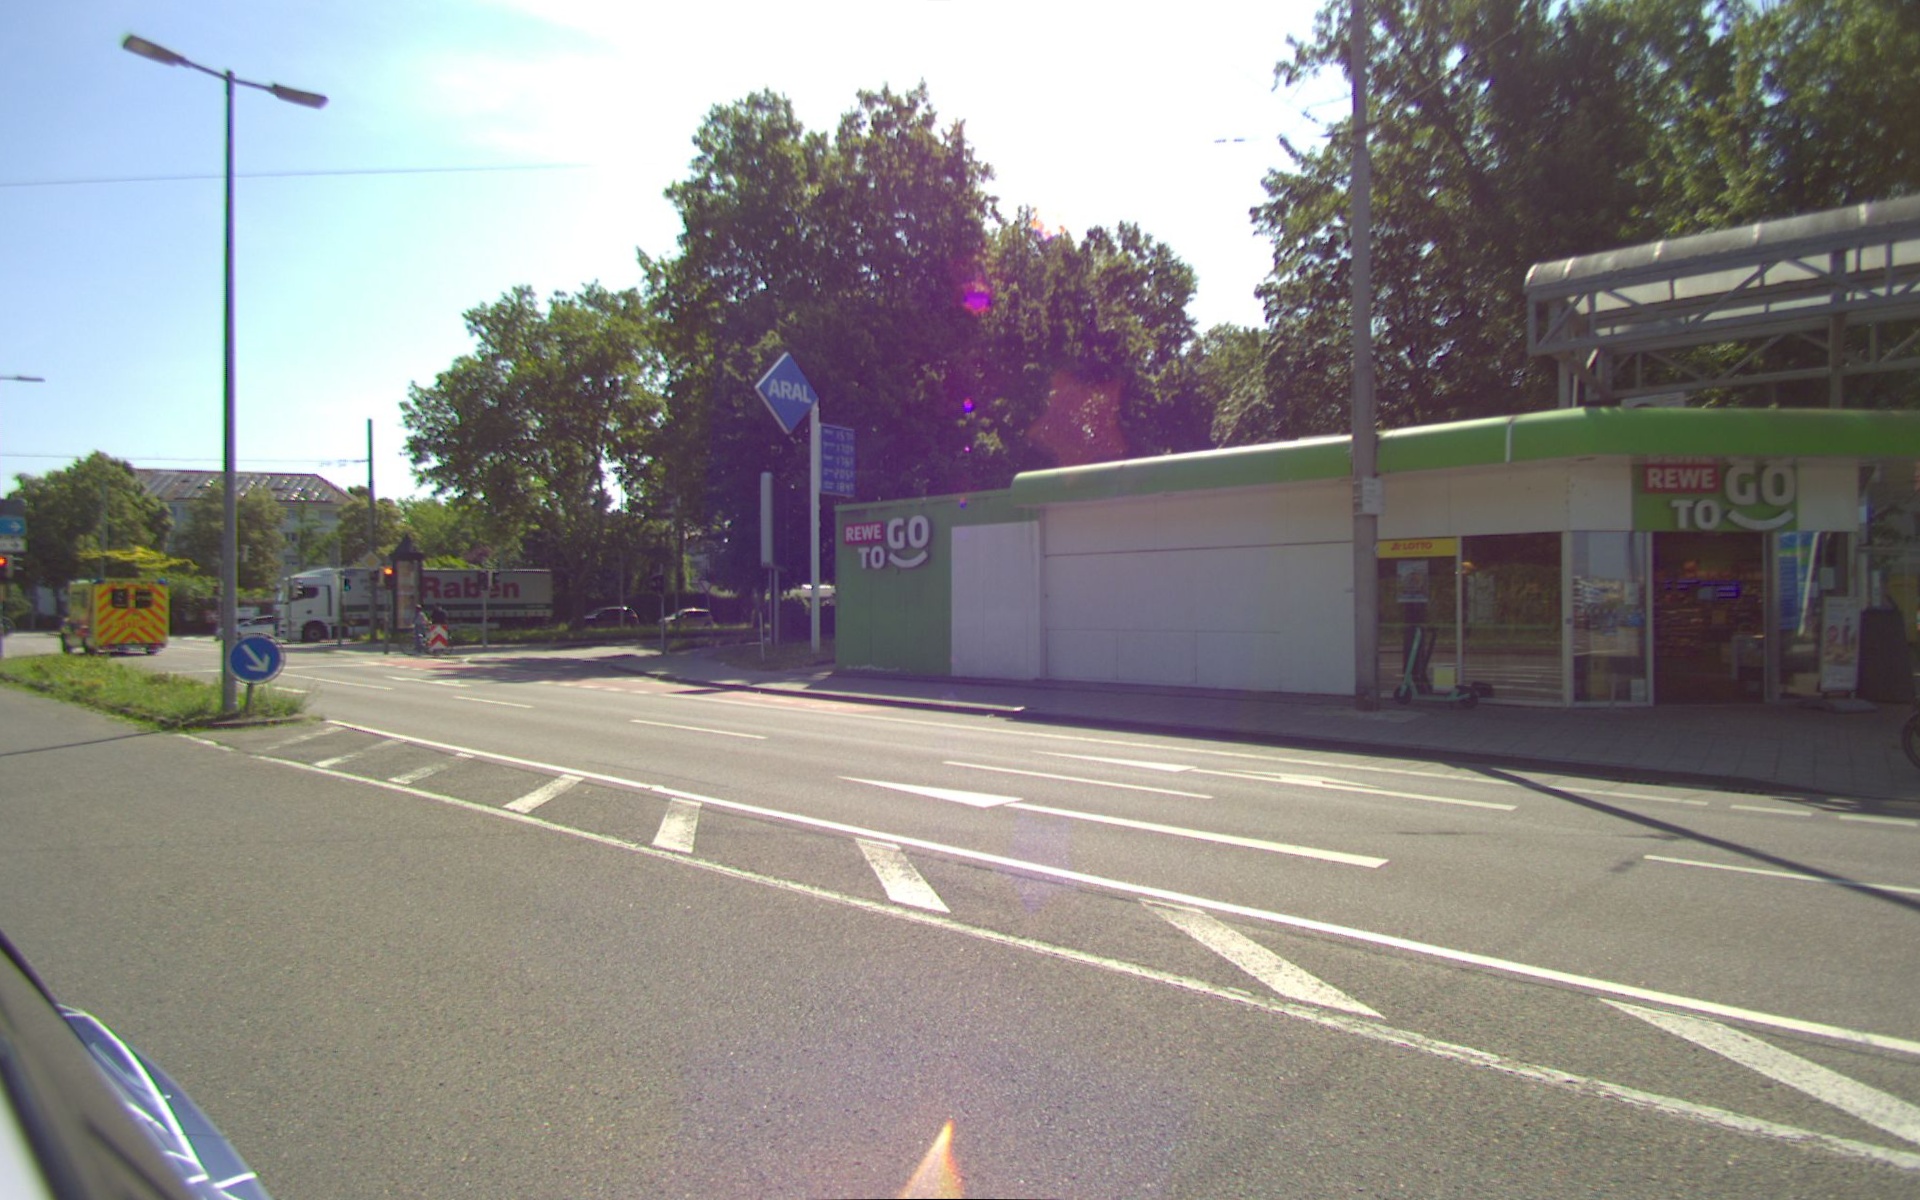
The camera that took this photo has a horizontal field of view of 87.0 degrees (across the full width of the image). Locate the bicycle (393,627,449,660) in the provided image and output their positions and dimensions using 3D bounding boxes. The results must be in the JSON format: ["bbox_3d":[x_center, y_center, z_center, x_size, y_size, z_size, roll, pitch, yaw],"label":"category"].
[{"bbox_3d":[-18.263,1.457,34.304,2.068,1.066,0.745,-1,-1,32],"label":"bicycle"}]

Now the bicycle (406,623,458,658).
[{"bbox_3d":[-18.937,1.439,36.274,2.210,1.184,0.927,-1,-1,42],"label":"bicycle"}]

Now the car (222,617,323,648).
[{"bbox_3d":[-37.795,1.774,55.775,4.321,1.522,1.762,-1,-1,-23],"label":"car"}]

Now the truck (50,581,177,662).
[{"bbox_3d":[-30.755,0.780,36.665,7.354,2.688,2.306,-1,-2,41],"label":"truck"}]

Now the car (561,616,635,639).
[{"bbox_3d":[-24.093,1.804,67.507,4.304,1.379,1.758,-1,-2,-42],"label":"car"}]

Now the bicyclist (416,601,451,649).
[{"bbox_3d":[-18.836,0.884,36.177,0.826,1.687,0.827,-3,-1,40],"label":"bicyclist"}]

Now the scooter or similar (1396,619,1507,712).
[{"bbox_3d":[6.972,0.903,14.406,0.436,1.247,1.347,0,-1,-40],"label":"scooter or similar"}]

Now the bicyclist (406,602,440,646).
[{"bbox_3d":[-18.142,0.812,34.186,0.737,1.431,0.702,-3,-1,32],"label":"bicyclist"}]

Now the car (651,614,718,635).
[{"bbox_3d":[-19.595,1.737,72.104,4.304,1.379,1.758,-1,-2,-42],"label":"car"}]

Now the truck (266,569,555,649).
[{"bbox_3d":[-30.388,0.510,57.044,14.091,4.038,2.857,1,-1,-44],"label":"truck"}]

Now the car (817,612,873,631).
[{"bbox_3d":[-9.278,1.752,82.020,4.304,1.379,1.758,-1,-2,-42],"label":"car"}]
